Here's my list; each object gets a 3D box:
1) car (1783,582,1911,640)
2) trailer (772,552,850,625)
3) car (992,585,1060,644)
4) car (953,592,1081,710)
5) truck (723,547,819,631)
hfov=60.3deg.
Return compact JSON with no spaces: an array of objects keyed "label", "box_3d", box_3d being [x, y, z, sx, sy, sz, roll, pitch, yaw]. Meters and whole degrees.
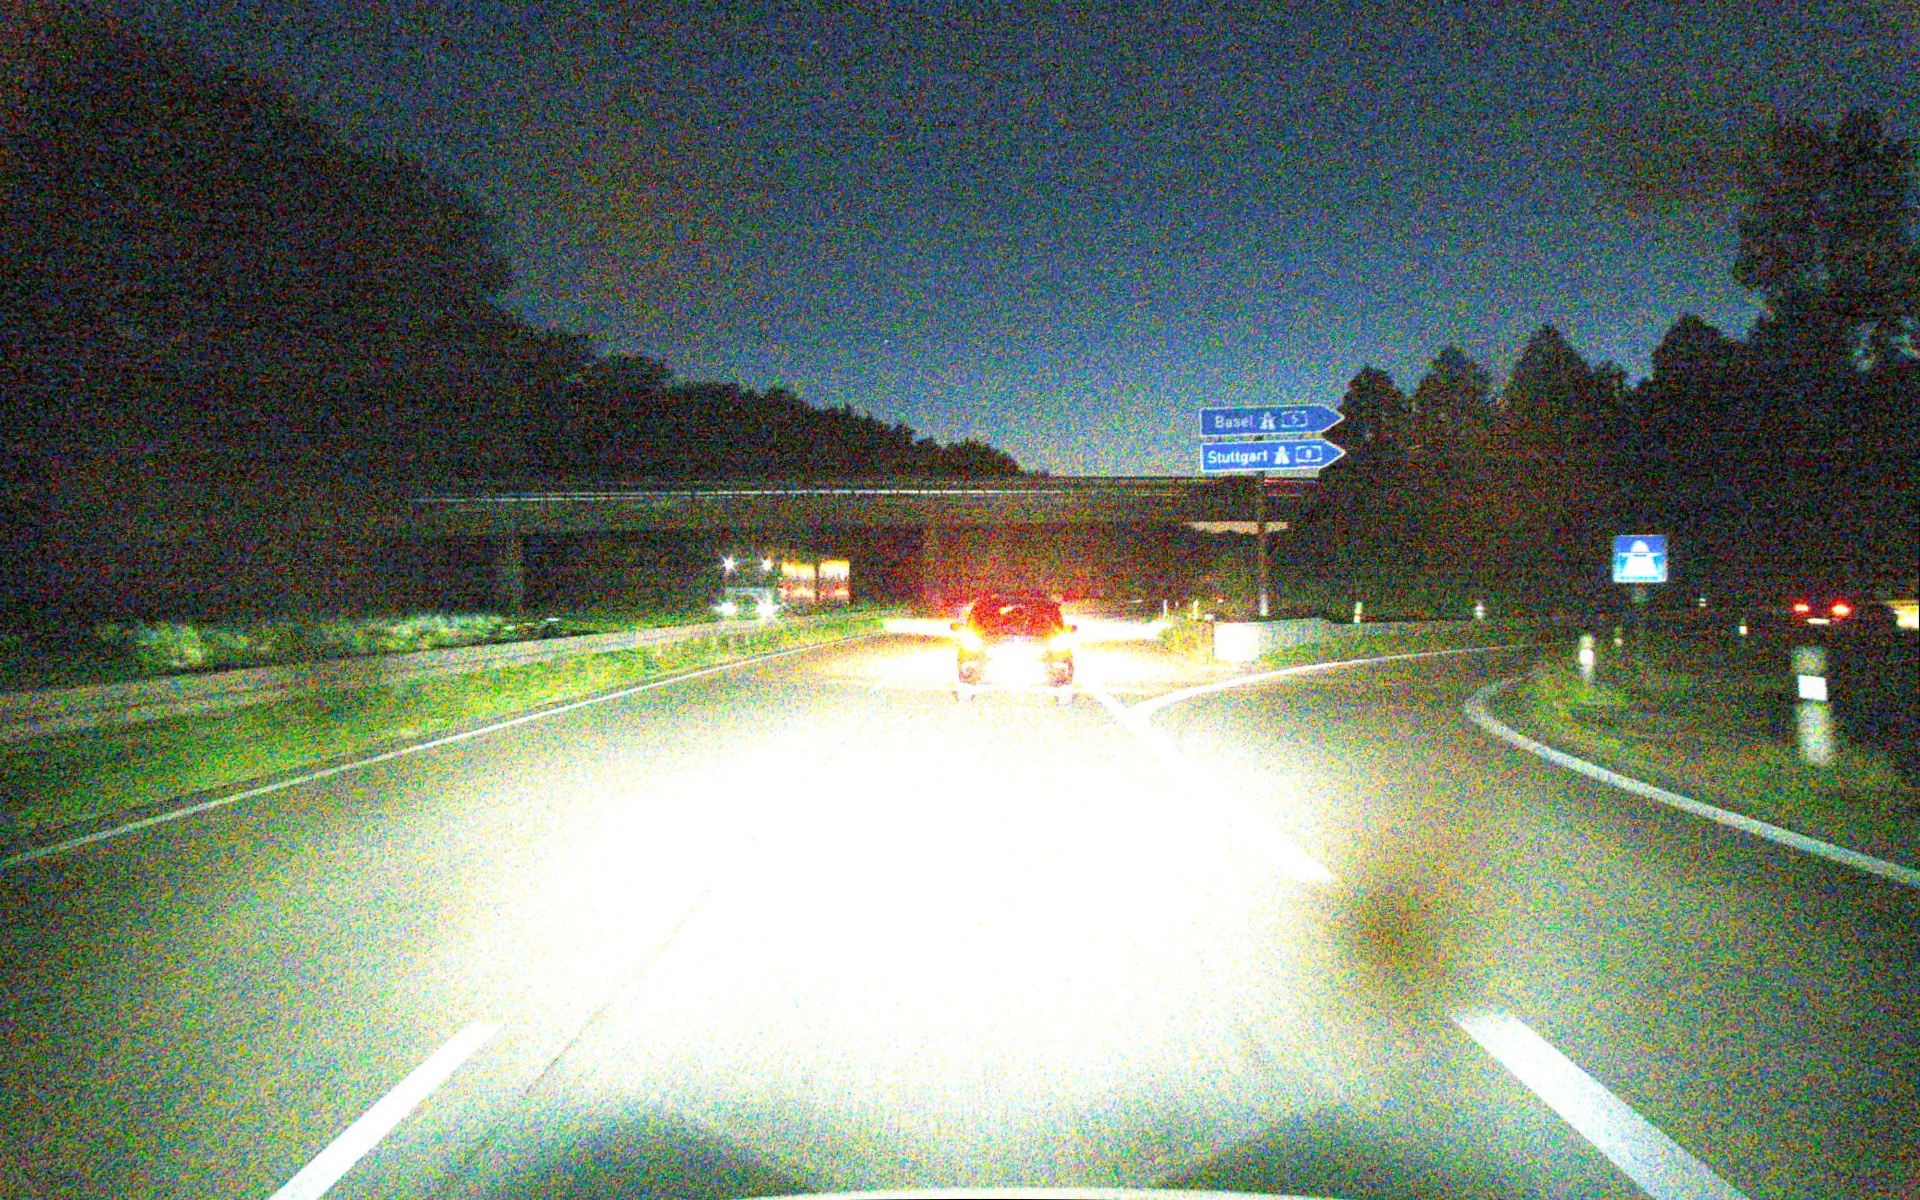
[{"label":"car","box_3d":[29.650,0.337,55.284,4.208,1.847,1.918,-1,0,-31]},{"label":"trailer","box_3d":[-8.552,-0.659,96.083,2.660,4.025,9.054,-1,0,6]},{"label":"car","box_3d":[2.041,0.408,50.114,1.866,1.728,4.003,0,0,5]},{"label":"car","box_3d":[0.747,0.672,23.997,1.556,1.534,3.998,1,0,-2]},{"label":"truck","box_3d":[-9.749,-0.567,86.493,2.623,4.115,10.662,-1,0,6]}]
